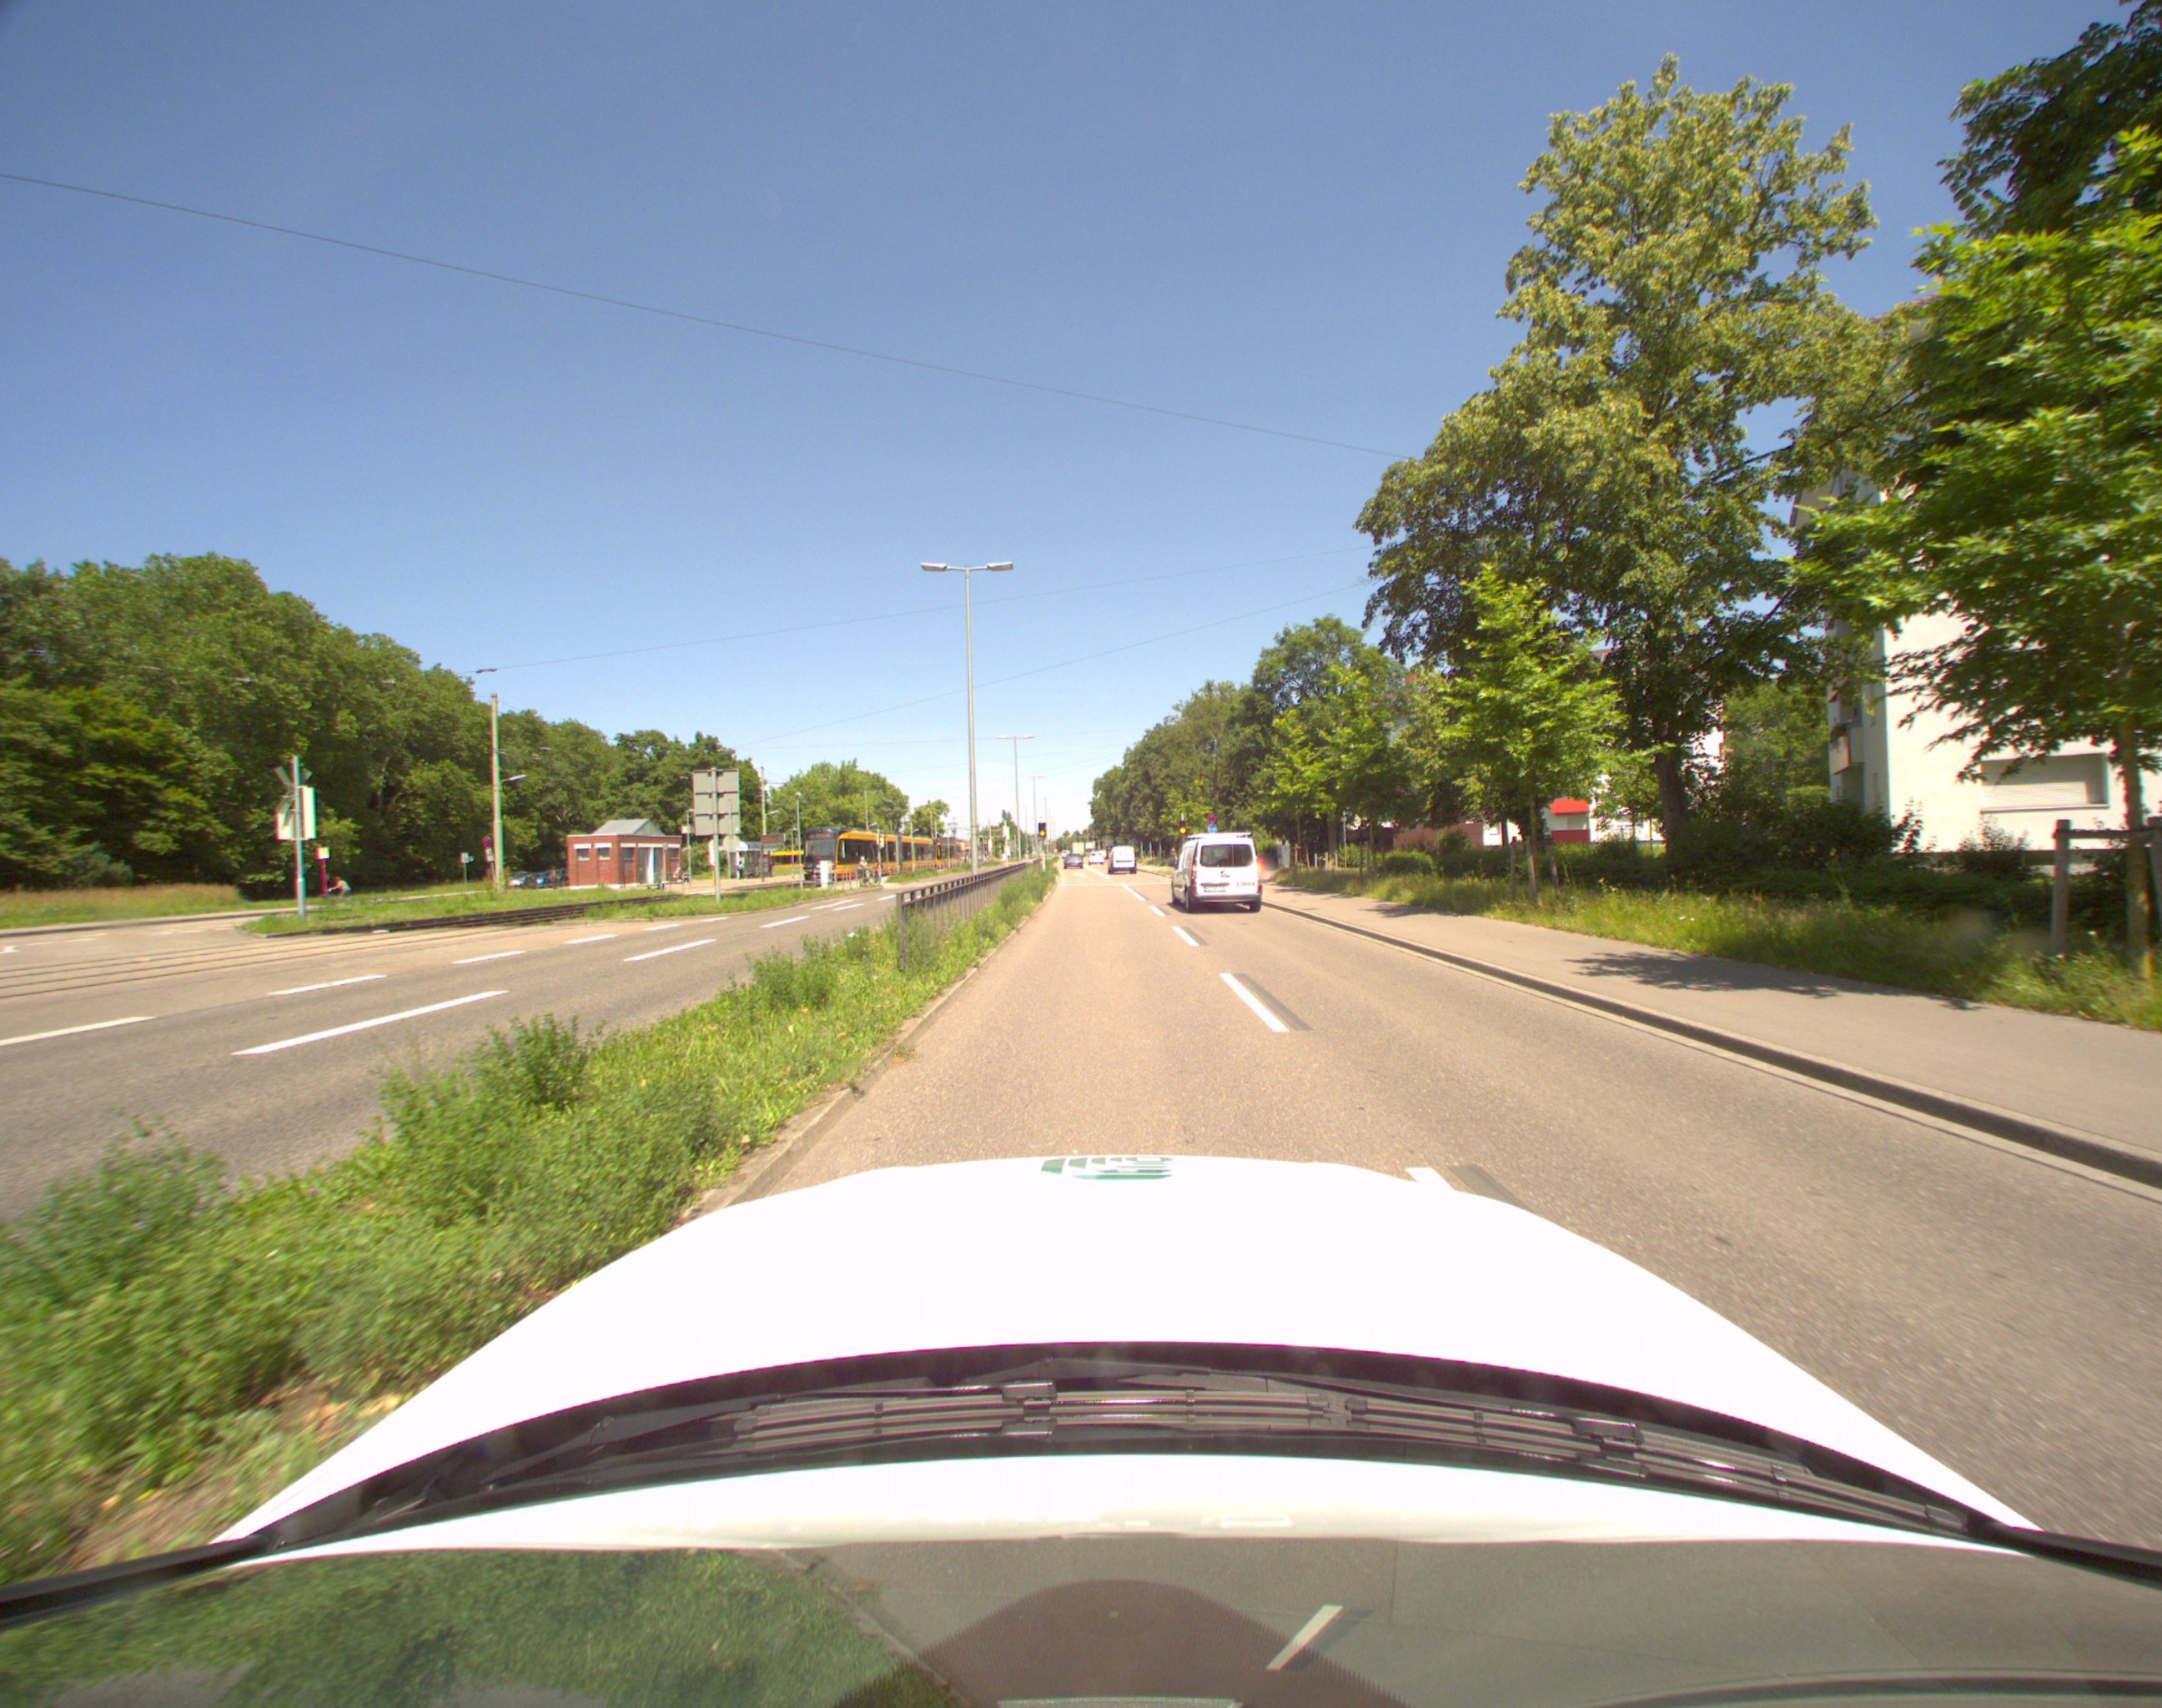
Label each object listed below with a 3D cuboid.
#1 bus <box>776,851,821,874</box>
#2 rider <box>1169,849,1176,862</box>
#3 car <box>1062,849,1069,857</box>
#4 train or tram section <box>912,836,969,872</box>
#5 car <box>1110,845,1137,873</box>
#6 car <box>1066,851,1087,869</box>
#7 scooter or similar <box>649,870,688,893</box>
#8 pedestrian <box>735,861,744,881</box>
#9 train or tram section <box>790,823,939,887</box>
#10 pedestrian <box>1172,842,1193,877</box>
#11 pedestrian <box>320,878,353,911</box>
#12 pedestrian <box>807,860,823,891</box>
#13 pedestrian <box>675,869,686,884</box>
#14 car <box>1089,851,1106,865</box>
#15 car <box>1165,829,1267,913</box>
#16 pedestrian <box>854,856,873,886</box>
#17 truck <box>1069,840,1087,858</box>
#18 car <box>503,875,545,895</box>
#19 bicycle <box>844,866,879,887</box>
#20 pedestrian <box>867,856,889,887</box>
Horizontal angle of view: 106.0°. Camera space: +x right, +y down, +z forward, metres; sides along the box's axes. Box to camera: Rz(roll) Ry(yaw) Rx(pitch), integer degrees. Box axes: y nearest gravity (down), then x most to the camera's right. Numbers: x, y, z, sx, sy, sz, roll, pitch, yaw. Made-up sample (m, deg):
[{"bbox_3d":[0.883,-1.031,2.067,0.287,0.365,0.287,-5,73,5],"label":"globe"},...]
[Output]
[{"bbox_3d":[-46.274,1.451,133.171,7.465,3.566,2.011,-2,0,23],"label":"bus"},{"bbox_3d":[9.854,0.164,87.383,0.676,1.281,0.533,-2,0,-2],"label":"rider"},{"bbox_3d":[-3.838,-0.328,199.226,1.683,1.897,3.868,-2,0,-1],"label":"car"},{"bbox_3d":[-16.461,-0.005,98.080,2.780,3.668,25.985,-2,0,-1],"label":"train or tram section"},{"bbox_3d":[2.824,0.300,54.163,1.721,1.813,4.003,-1,1,2],"label":"car"},{"bbox_3d":[-0.437,0.520,73.293,1.796,1.486,3.999,-2,0,0],"label":"car"},{"bbox_3d":[-21.606,1.416,42.642,0.605,1.127,1.684,-2,0,43],"label":"scooter or similar"},{"bbox_3d":[-25.010,1.254,59.620,0.460,1.435,0.524,-2,0,-3],"label":"pedestrian"},{"bbox_3d":[-15.894,0.027,66.343,2.780,3.668,37.498,-2,0,-1],"label":"train or tram section"},{"bbox_3d":[5.438,0.276,43.741,1.039,1.850,0.759,-1,0,11],"label":"pedestrian"},{"bbox_3d":[-40.309,2.195,44.104,0.511,1.701,1.278,-2,0,44],"label":"pedestrian"},{"bbox_3d":[-13.344,1.086,40.879,0.539,1.541,0.861,-2,0,-30],"label":"pedestrian"},{"bbox_3d":[-27.545,1.529,55.977,0.480,1.018,0.522,-2,0,1],"label":"pedestrian"},{"bbox_3d":[1.878,0.481,95.924,1.798,1.540,3.998,-2,0,-1],"label":"car"},{"bbox_3d":[3.319,0.377,20.835,1.818,1.882,4.455,-1,0,0],"label":"car"},{"bbox_3d":[-12.186,0.965,45.611,0.815,1.628,0.706,-2,0,4],"label":"pedestrian"},{"bbox_3d":[-0.750,-1.167,183.179,3.888,3.812,10.786,-2,0,-1],"label":"truck"},{"bbox_3d":[-46.230,2.537,67.687,2.001,1.467,3.971,-2,0,-21],"label":"car"},{"bbox_3d":[-12.270,1.255,45.493,1.855,1.157,0.243,-2,0,3],"label":"bicycle"},{"bbox_3d":[-11.877,1.024,47.626,0.949,1.797,0.709,-2,0,28],"label":"pedestrian"}]
